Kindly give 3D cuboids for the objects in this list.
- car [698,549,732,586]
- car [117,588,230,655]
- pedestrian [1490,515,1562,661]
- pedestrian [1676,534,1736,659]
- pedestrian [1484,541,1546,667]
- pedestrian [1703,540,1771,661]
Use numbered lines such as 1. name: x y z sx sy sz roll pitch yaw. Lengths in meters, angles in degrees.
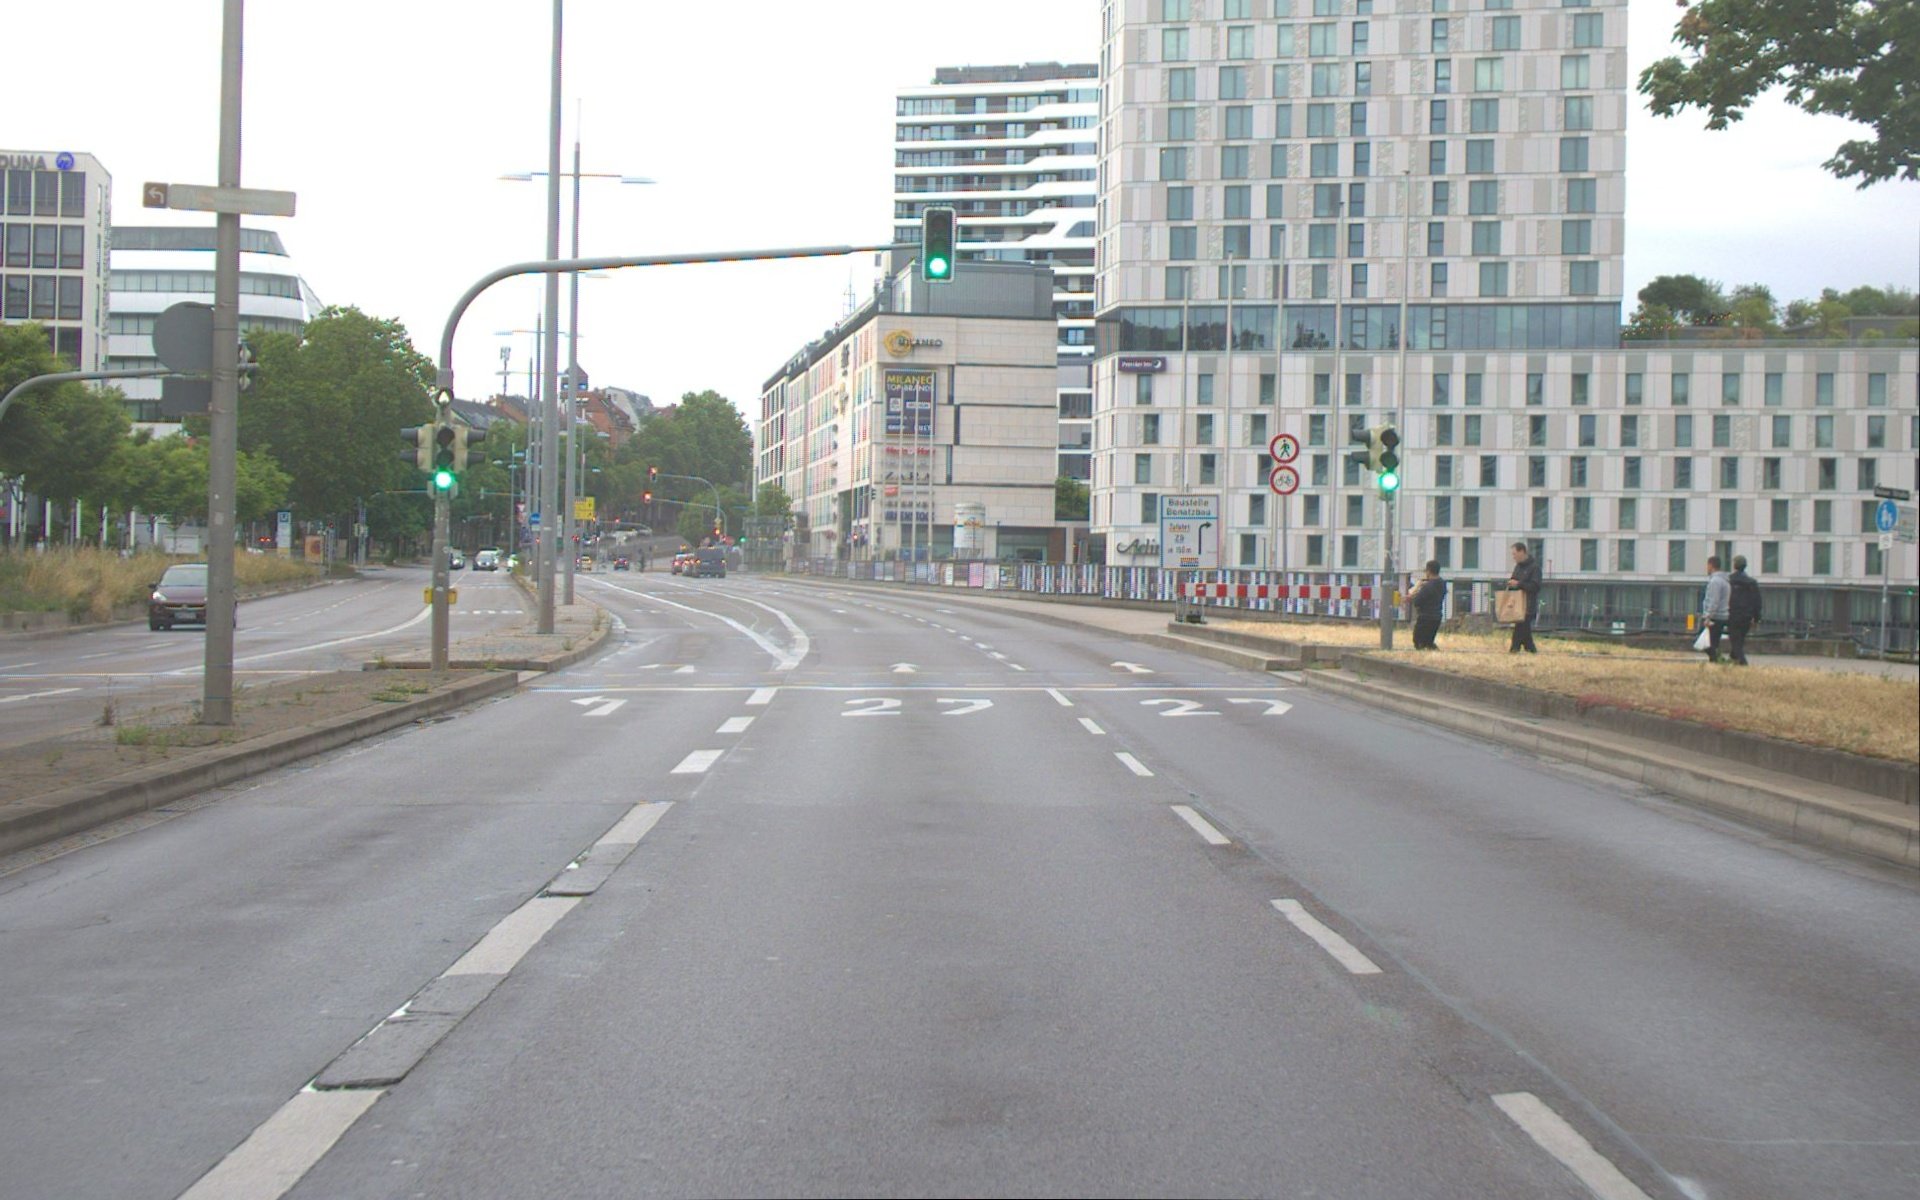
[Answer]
1. car: -15.727 -2.105 220.687 1.993 2.335 4.000 -1 1 -2
2. car: -17.301 0.455 75.768 1.748 1.403 3.725 0 1 -2
3. pedestrian: 7.230 -0.160 43.916 0.781 1.835 0.551 -3 3 -44
4. pedestrian: 9.579 -0.048 44.150 0.550 1.572 0.669 1 3 33
5. pedestrian: 7.094 0.048 43.925 0.550 1.572 0.669 1 3 33
6. pedestrian: 10.269 0.000 45.441 0.670 1.572 0.667 1 3 37
